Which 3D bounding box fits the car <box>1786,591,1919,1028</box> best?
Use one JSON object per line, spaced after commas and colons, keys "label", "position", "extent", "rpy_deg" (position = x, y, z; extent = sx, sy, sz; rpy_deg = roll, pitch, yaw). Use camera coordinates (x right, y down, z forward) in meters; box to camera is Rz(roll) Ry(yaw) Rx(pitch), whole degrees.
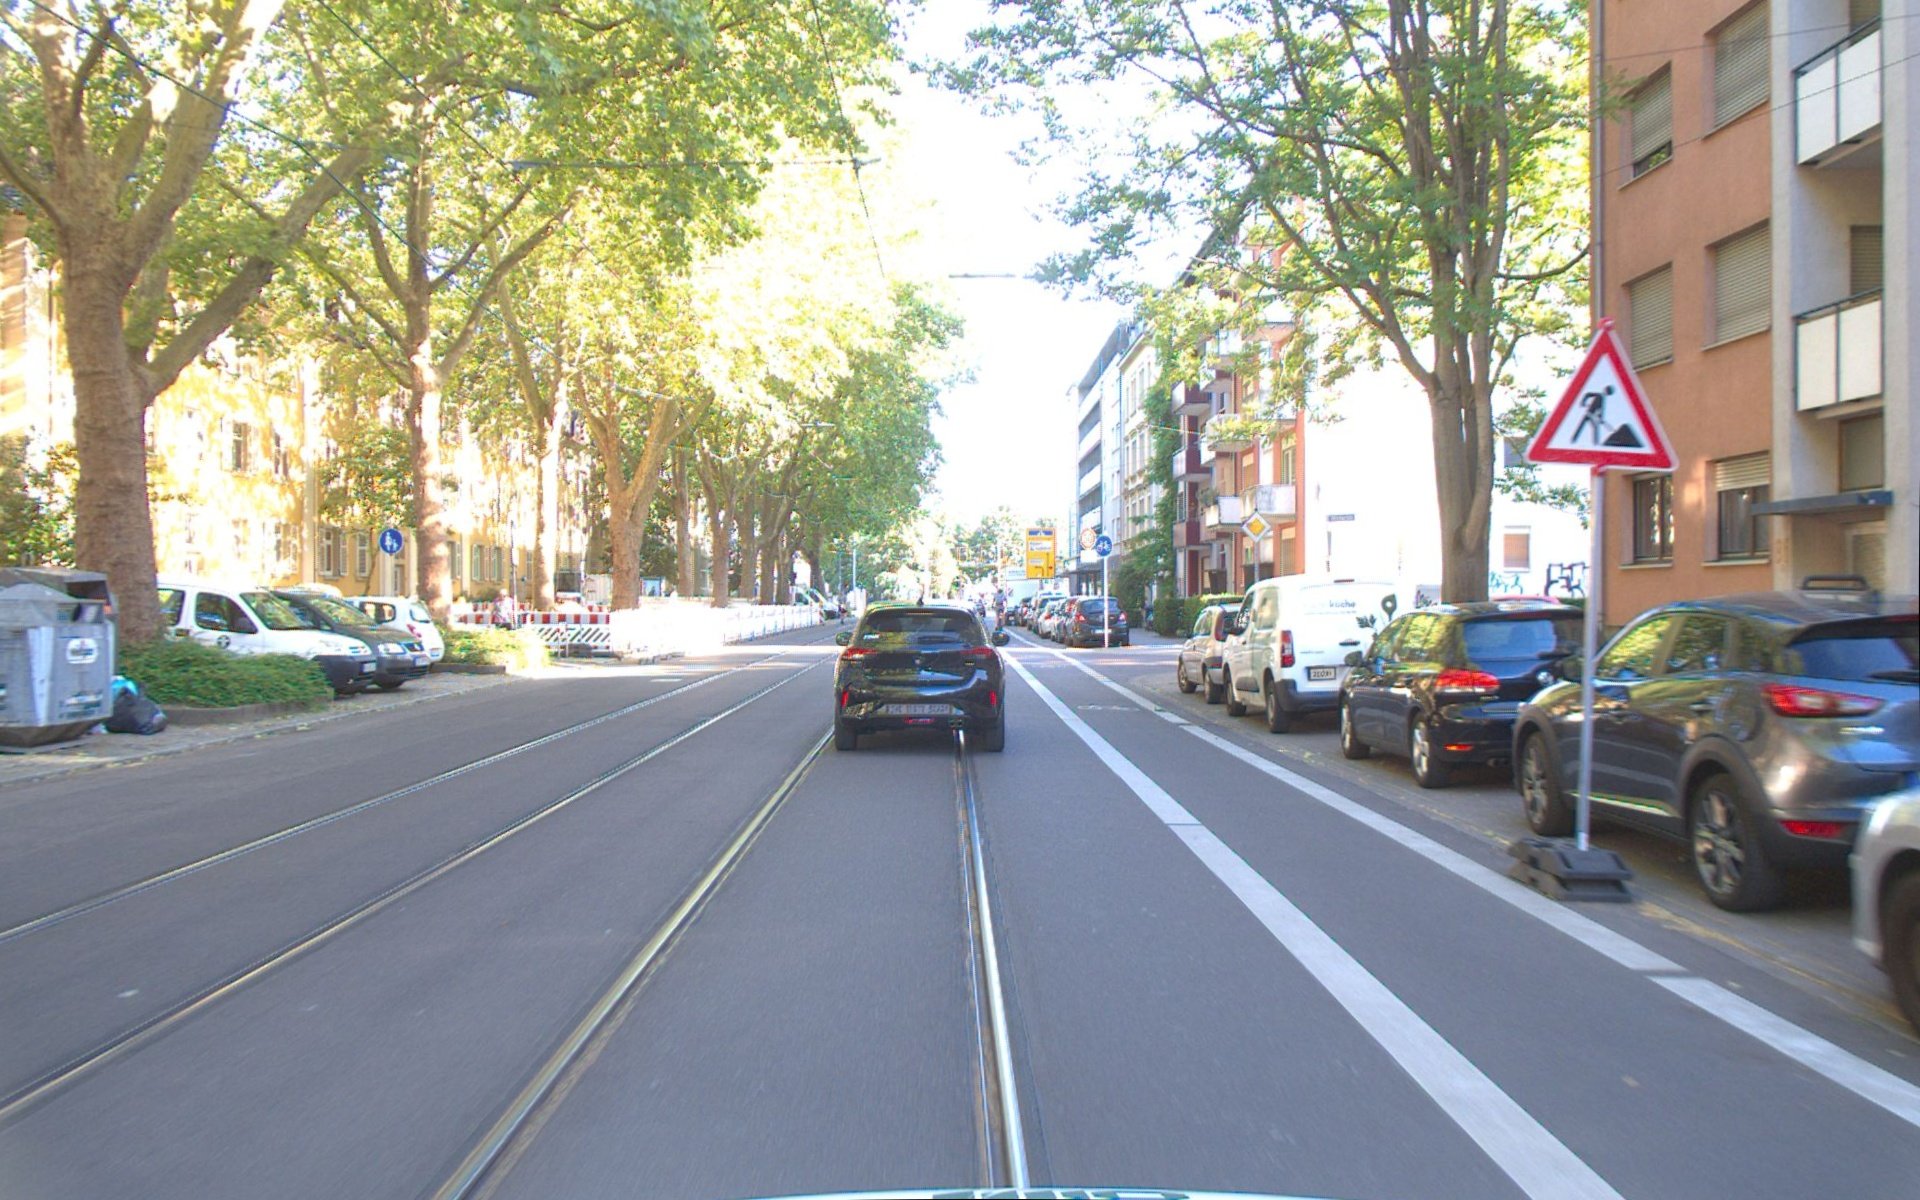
{"label": "car", "position": [4.319, 0.735, 4.639], "extent": [1.752, 1.548, 4.321], "rpy_deg": [-2, 0, -1]}

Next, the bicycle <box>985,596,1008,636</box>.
{"label": "bicycle", "position": [1.495, 0.652, 68.431], "extent": [0.897, 1.588, 3.405], "rpy_deg": [0, 0, 0]}

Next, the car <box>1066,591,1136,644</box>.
{"label": "car", "position": [4.236, 0.499, 50.243], "extent": [1.698, 1.487, 3.915], "rpy_deg": [-2, 0, -1]}

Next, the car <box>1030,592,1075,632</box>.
{"label": "car", "position": [3.864, 0.480, 69.523], "extent": [1.626, 1.608, 3.588], "rpy_deg": [-2, 0, 0]}

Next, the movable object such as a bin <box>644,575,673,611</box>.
{"label": "movable object such as a bin", "position": [-14.137, -0.314, 77.652], "extent": [1.075, 1.674, 1.559], "rpy_deg": [1, 0, -1]}

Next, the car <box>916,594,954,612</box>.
{"label": "car", "position": [-2.661, 0.355, 176.810], "extent": [1.902, 1.725, 4.267], "rpy_deg": [-2, 0, -36]}

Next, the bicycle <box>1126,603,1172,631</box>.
{"label": "bicycle", "position": [7.814, 0.704, 68.438], "extent": [1.854, 1.047, 0.476], "rpy_deg": [-2, 0, 4]}

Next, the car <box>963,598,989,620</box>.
{"label": "car", "position": [1.328, 0.707, 138.121], "extent": [1.953, 1.725, 4.739], "rpy_deg": [-2, 0, -1]}

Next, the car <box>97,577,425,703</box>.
{"label": "car", "position": [-10.304, 0.568, 24.572], "extent": [4.112, 1.788, 1.740], "rpy_deg": [0, 0, 0]}

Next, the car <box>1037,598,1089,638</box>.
{"label": "car", "position": [3.970, 0.685, 64.544], "extent": [1.625, 1.424, 4.739], "rpy_deg": [-2, 0, -1]}

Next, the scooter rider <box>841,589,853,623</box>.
{"label": "scooter rider", "position": [-6.690, 0.371, 97.709], "extent": [0.636, 1.991, 0.624], "rpy_deg": [1, -1, 0]}

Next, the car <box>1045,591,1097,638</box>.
{"label": "car", "position": [3.930, 0.524, 58.970], "extent": [1.559, 1.553, 3.835], "rpy_deg": [-2, 0, 0]}

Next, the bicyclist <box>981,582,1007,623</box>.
{"label": "bicyclist", "position": [1.397, 0.108, 68.344], "extent": [1.067, 1.676, 1.400], "rpy_deg": [0, 0, 0]}

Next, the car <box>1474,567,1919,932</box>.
{"label": "car", "position": [4.589, 0.646, 9.636], "extent": [1.732, 1.599, 4.336], "rpy_deg": [-2, 0, -1]}

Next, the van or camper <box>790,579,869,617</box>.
{"label": "van or camper", "position": [-9.567, -0.150, 122.039], "extent": [5.606, 2.690, 2.269], "rpy_deg": [1, 0, 0]}

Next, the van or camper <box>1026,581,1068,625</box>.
{"label": "van or camper", "position": [3.883, 0.118, 74.574], "extent": [1.635, 1.915, 4.210], "rpy_deg": [-2, 0, 0]}

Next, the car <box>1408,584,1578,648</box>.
{"label": "car", "position": [13.527, 0.382, 42.094], "extent": [3.834, 1.508, 1.561], "rpy_deg": [0, 3, -2]}

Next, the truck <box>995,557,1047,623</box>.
{"label": "truck", "position": [3.343, -0.553, 91.843], "extent": [2.486, 3.396, 7.194], "rpy_deg": [-3, 0, 0]}

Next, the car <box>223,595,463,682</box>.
{"label": "car", "position": [-11.500, 0.701, 31.027], "extent": [3.768, 1.524, 1.862], "rpy_deg": [-1, 0, 0]}

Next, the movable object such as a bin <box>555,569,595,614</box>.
{"label": "movable object such as a bin", "position": [-16.884, -0.366, 72.570], "extent": [1.306, 1.901, 2.007], "rpy_deg": [1, 0, -1]}

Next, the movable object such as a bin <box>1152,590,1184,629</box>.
{"label": "movable object such as a bin", "position": [7.277, 0.332, 57.917], "extent": [0.904, 1.350, 1.681], "rpy_deg": [1, 0, 0]}

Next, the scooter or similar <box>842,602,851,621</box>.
{"label": "scooter or similar", "position": [-6.691, 0.699, 97.740], "extent": [0.399, 1.102, 1.338], "rpy_deg": [1, 0, 0]}

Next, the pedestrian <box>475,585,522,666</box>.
{"label": "pedestrian", "position": [-10.257, 0.556, 36.794], "extent": [0.805, 1.775, 0.796], "rpy_deg": [1, -1, -1]}

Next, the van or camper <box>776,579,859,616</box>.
{"label": "van or camper", "position": [-9.675, -0.190, 112.691], "extent": [5.386, 2.421, 2.270], "rpy_deg": [1, 0, 3]}

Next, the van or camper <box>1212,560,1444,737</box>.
{"label": "van or camper", "position": [4.379, 0.510, 20.433], "extent": [1.719, 1.897, 4.829], "rpy_deg": [-1, 0, -1]}

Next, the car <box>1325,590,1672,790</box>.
{"label": "car", "position": [4.577, 0.671, 14.715], "extent": [1.671, 1.498, 4.167], "rpy_deg": [-1, 0, -1]}

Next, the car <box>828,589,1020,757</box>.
{"label": "car", "position": [-0.354, 0.652, 17.060], "extent": [1.745, 1.522, 3.999], "rpy_deg": [0, 0, -1]}

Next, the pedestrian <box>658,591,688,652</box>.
{"label": "pedestrian", "position": [-8.141, 0.612, 46.902], "extent": [0.702, 1.698, 0.778], "rpy_deg": [1, -1, 0]}

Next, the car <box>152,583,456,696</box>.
{"label": "car", "position": [-10.587, 0.620, 26.865], "extent": [4.144, 1.717, 1.934], "rpy_deg": [-1, 0, 6]}

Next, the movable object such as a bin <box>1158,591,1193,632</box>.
{"label": "movable object such as a bin", "position": [7.289, 0.394, 56.111], "extent": [0.947, 1.350, 1.721], "rpy_deg": [1, 0, 0]}

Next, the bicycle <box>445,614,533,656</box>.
{"label": "bicycle", "position": [-11.509, 0.855, 40.408], "extent": [1.931, 0.979, 0.726], "rpy_deg": [0, 0, 0]}

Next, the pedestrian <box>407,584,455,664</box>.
{"label": "pedestrian", "position": [-11.908, 0.539, 37.232], "extent": [0.805, 1.775, 0.796], "rpy_deg": [1, -1, -1]}

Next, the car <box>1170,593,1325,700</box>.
{"label": "car", "position": [4.387, 0.659, 25.789], "extent": [1.671, 1.498, 3.999], "rpy_deg": [-1, 0, -1]}

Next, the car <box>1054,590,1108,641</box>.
{"label": "car", "position": [3.965, 0.492, 54.455], "extent": [1.494, 1.618, 3.752], "rpy_deg": [1, 0, 0]}
